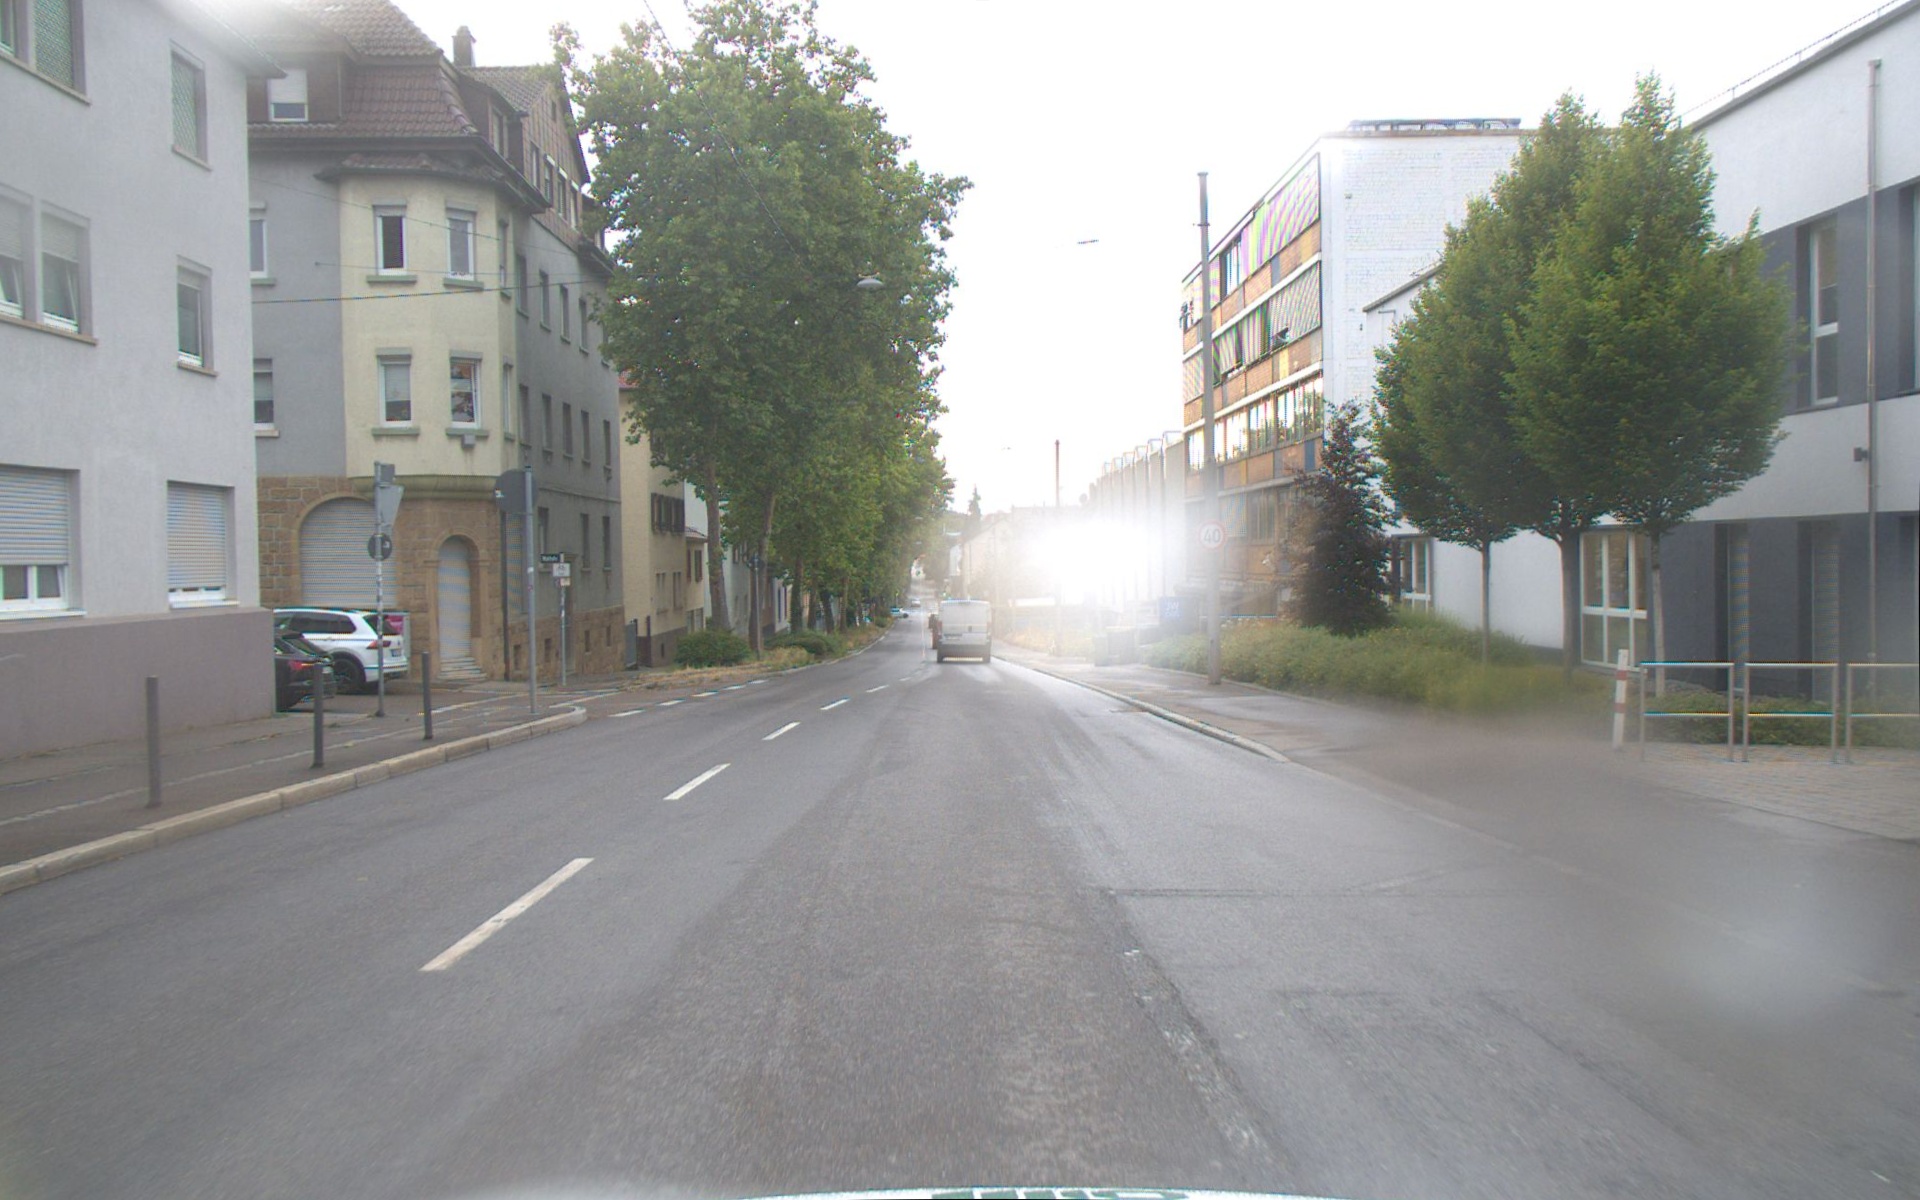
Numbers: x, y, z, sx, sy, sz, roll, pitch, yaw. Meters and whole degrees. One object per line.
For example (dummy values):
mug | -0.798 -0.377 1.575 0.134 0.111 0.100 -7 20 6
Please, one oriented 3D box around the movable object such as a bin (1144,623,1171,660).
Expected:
movable object such as a bin | 6.108 1.273 51.215 0.681 1.101 0.778 -4 -1 0

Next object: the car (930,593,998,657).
car | 0.097 0.908 62.524 2.300 2.198 4.775 -2 1 -3

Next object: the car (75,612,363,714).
car | -12.452 1.034 27.992 3.906 1.478 1.999 2 0 -2

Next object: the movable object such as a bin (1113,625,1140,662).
movable object such as a bin | 5.153 1.345 51.144 0.681 1.101 0.778 -4 -1 0

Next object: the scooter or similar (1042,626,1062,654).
scooter or similar | 3.889 1.687 69.859 0.593 1.182 1.698 -1 -1 -5

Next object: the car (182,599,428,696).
car | -13.193 0.933 33.501 4.097 1.733 2.000 2 0 -1

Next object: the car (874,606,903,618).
car | -9.872 1.634 229.268 1.962 1.604 3.980 0 0 39

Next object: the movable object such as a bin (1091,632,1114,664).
movable object such as a bin | 4.389 1.478 50.970 0.607 0.953 0.686 -4 -1 0
